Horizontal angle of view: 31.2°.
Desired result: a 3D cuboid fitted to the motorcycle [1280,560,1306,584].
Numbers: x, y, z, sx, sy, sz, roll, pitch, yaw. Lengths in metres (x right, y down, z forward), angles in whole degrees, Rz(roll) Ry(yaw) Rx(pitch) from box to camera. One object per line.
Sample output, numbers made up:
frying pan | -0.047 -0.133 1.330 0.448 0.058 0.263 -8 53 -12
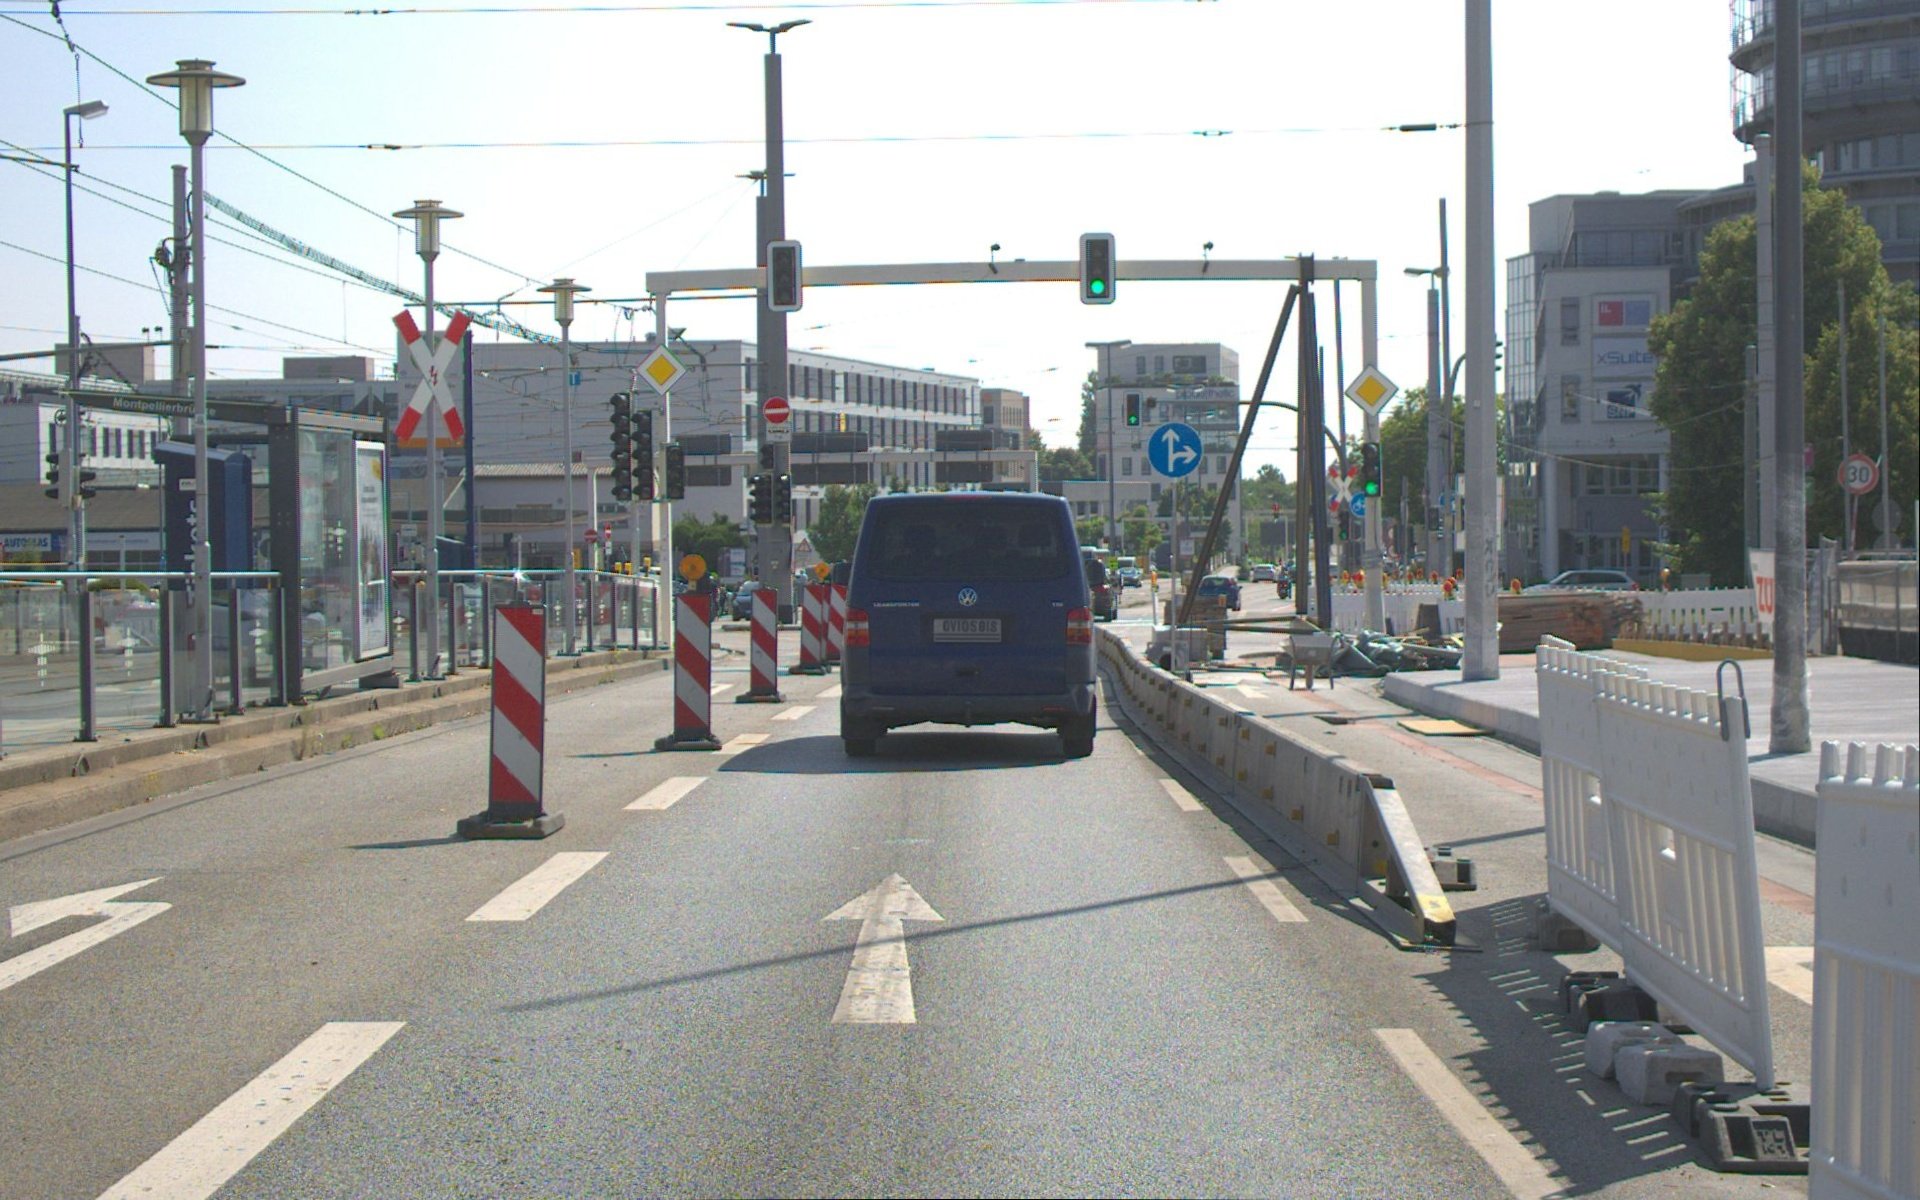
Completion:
motorcycle | 17.704 -1.497 182.728 1.162 1.238 3.006 1 1 9

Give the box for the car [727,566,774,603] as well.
car | -8.691 -0.656 142.721 1.747 1.481 4.000 -1 1 -1

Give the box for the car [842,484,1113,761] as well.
car | 0.149 0.101 26.380 1.888 1.927 4.000 1 2 1

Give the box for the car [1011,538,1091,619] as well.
car | 2.068 -0.516 77.290 1.645 1.722 4.000 1 1 3

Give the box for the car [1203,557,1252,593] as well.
car | 10.890 -1.027 140.073 1.744 1.470 3.885 0 1 1

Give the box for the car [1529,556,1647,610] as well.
car | 22.006 -0.596 120.595 3.813 1.791 1.681 1 2 1

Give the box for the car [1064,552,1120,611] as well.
car | 4.142 -0.598 107.451 1.645 1.722 3.717 1 1 3
